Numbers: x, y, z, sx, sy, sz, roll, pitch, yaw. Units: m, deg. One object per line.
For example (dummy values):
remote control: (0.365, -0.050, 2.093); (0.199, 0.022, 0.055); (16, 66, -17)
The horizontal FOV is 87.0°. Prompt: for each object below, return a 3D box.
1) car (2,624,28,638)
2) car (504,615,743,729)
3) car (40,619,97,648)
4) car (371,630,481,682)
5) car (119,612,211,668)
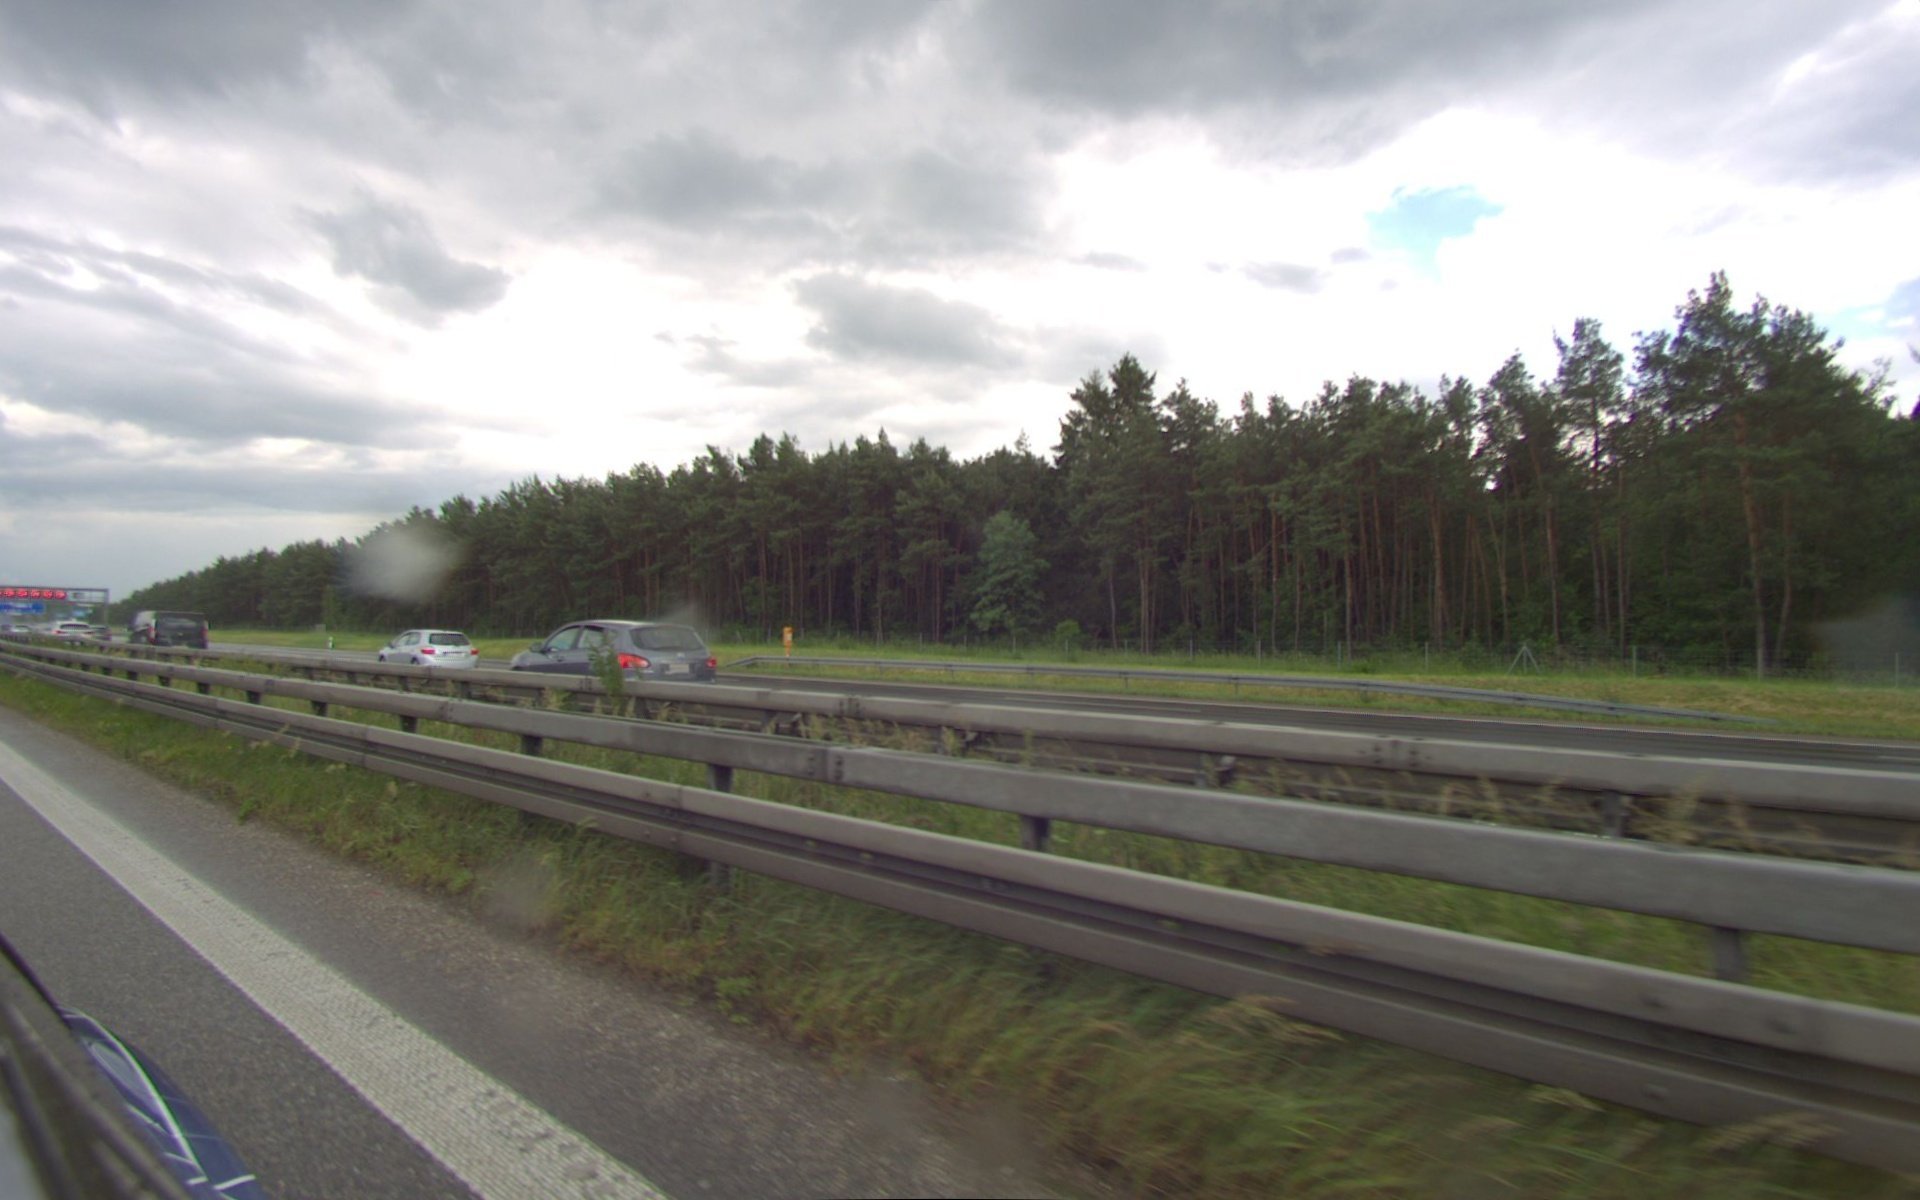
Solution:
car: (-103.915, 3.399, 111.269); (3.997, 1.492, 1.710); (-1, -2, 41)
car: (-5.308, 1.036, 15.753); (3.998, 1.551, 1.752); (-1, -2, 41)
car: (-49.714, 1.847, 56.427); (4.488, 1.601, 1.840); (-1, -2, 41)
car: (-16.549, 1.682, 31.303); (3.998, 1.499, 1.680); (-1, -2, 41)
car: (-30.946, 1.517, 39.343); (4.624, 2.029, 1.973); (-1, -2, 41)
